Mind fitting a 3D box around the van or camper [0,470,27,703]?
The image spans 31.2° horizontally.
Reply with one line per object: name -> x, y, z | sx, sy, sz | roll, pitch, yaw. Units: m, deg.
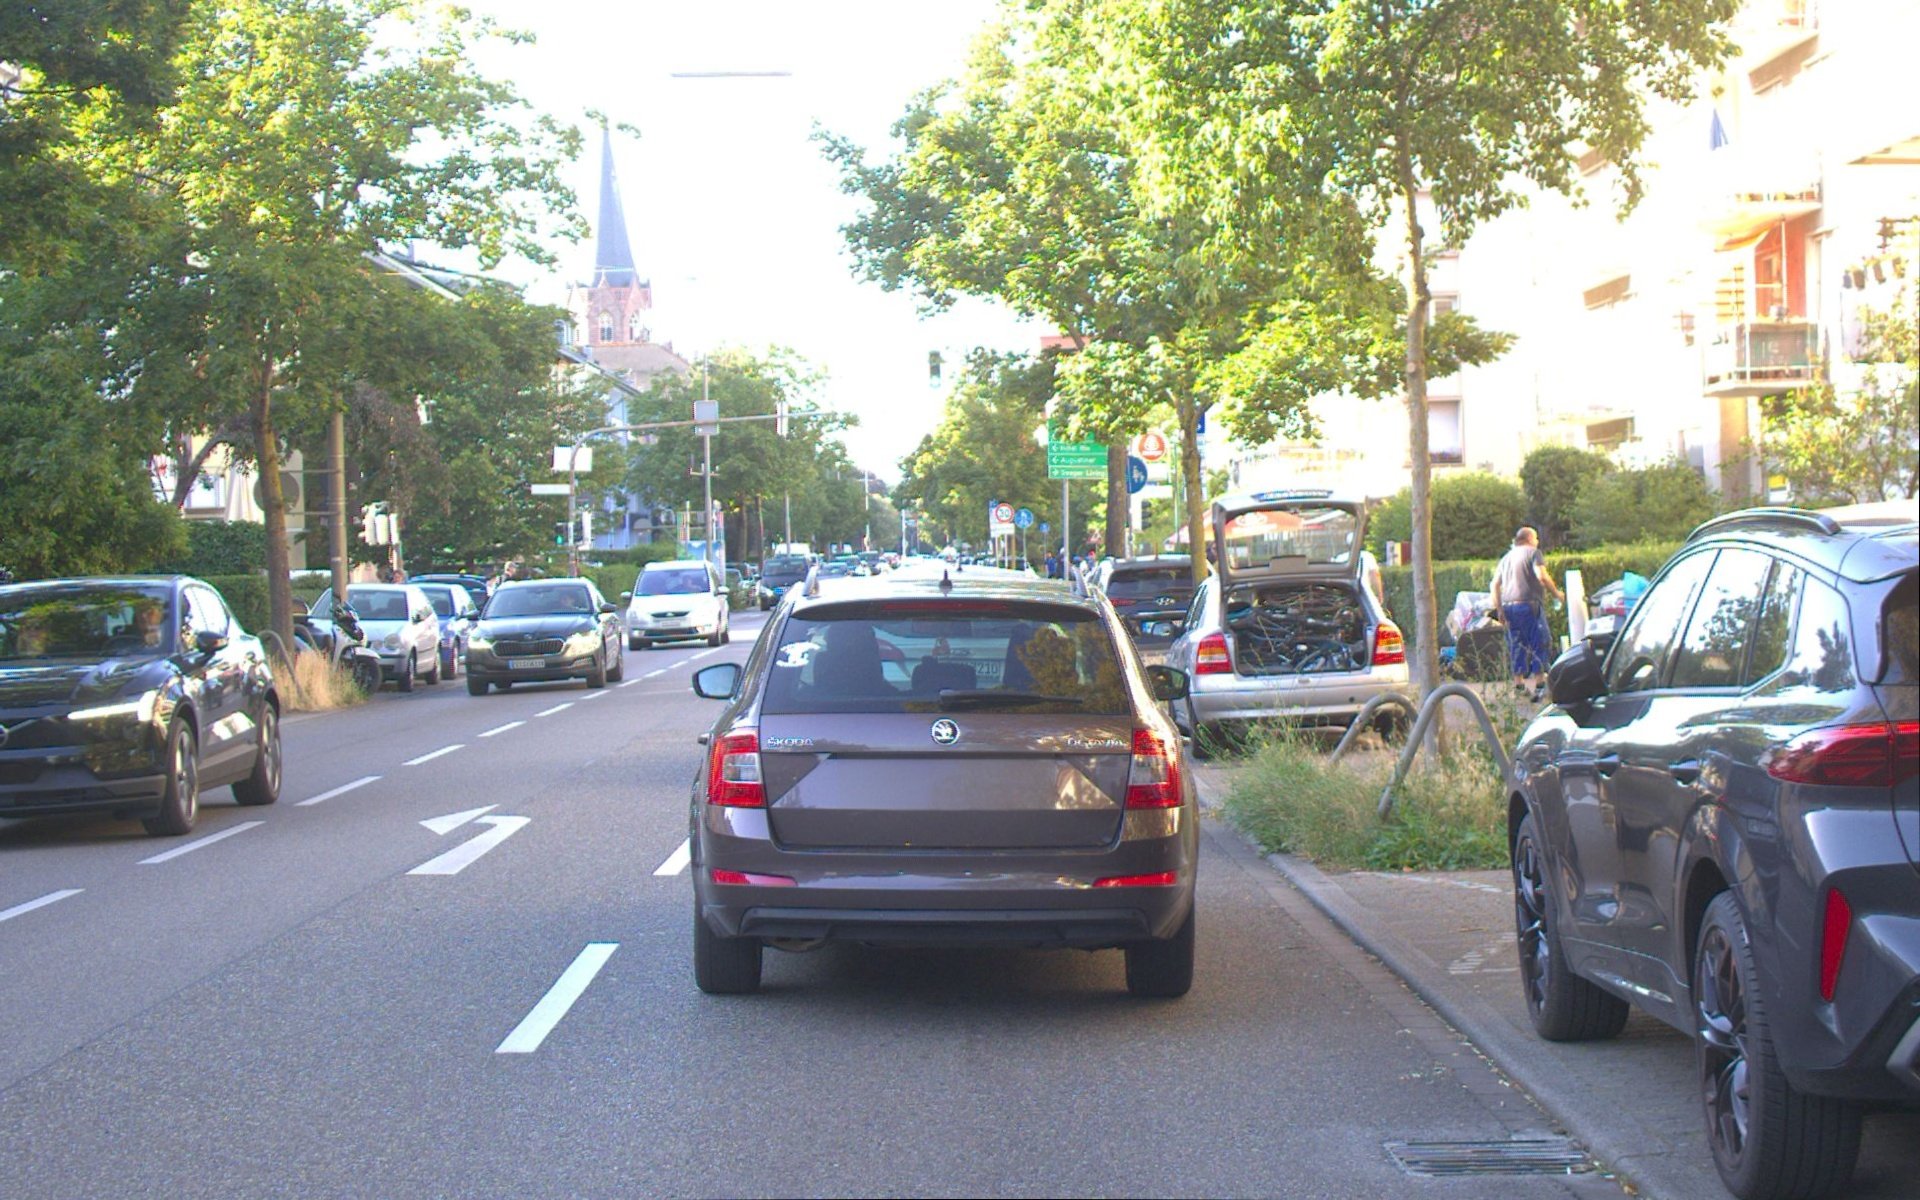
van or camper -> -14.802, -0.220, 40.780 | 6.797, 2.763, 2.352 | 1, 1, -1

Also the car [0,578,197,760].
car -> -8.335, 0.569, 31.131 | 1.867, 1.489, 4.517 | 0, 1, 0

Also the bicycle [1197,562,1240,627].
bicycle -> 4.057, -0.092, 54.076 | 0.516, 0.984, 1.831 | -1, 1, 0

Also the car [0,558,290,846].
car -> -5.464, 0.585, 21.237 | 1.835, 1.565, 4.000 | -3, 0, -1

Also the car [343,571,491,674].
car -> -8.334, 0.321, 53.028 | 1.648, 1.512, 4.074 | 0, 1, 0

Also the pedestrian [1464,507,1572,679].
pedestrian -> 5.392, -0.065, 33.200 | 0.757, 1.634, 0.694 | -1, 1, 36

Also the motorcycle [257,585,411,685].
motorcycle -> -8.145, 0.460, 44.690 | 2.052, 1.260, 0.765 | -1, 1, 38

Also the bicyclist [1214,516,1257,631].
bicyclist -> 4.329, -0.418, 54.041 | 0.581, 1.782, 0.852 | -1, 1, 0

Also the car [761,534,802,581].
car -> -9.734, -2.324, 187.566 | 1.993, 2.469, 4.000 | -1, 1, 0

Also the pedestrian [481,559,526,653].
pedestrian -> -9.822, 0.123, 73.989 | 0.780, 1.981, 0.821 | -2, 1, 0

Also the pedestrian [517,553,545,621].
pedestrian -> -11.356, -0.344, 91.042 | 0.616, 1.791, 0.504 | -2, 1, 0

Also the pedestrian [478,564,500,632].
pedestrian -> -12.531, -0.058, 91.427 | 0.449, 1.791, 0.504 | -2, 1, 0

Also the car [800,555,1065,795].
car -> -0.167, 0.473, 24.772 | 1.737, 1.565, 4.000 | 1, 1, 0

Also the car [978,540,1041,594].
car -> 1.673, -1.106, 115.029 | 1.994, 1.766, 4.000 | 1, 1, 2

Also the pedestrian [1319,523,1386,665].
pedestrian -> 4.943, -0.080, 43.332 | 0.662, 1.743, 0.772 | -3, 0, -1

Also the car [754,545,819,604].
car -> -6.045, -0.900, 120.210 | 1.993, 1.902, 4.964 | -3, 1, -1

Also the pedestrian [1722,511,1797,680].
pedestrian -> 7.844, -0.044, 33.738 | 0.474, 1.634, 0.536 | -2, 1, -19

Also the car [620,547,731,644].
car -> -5.660, -0.110, 68.902 | 1.805, 1.798, 4.746 | -3, 1, -1

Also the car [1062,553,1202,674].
car -> 2.246, 0.148, 45.631 | 1.703, 1.445, 4.013 | -3, 1, 2

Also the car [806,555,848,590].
car -> -6.325, -1.317, 163.812 | 1.830, 1.574, 4.000 | -2, 1, 0

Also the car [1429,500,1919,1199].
car -> 2.550, 0.540, 9.149 | 1.856, 1.598, 4.311 | -4, 1, -1

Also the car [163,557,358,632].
car -> -18.037, -0.145, 88.747 | 4.634, 1.805, 1.862 | -1, 1, -1

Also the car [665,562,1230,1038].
car -> -0.073, 0.605, 12.960 | 1.773, 1.484, 4.311 | 0, 1, -1

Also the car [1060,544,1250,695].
car -> 2.222, 0.192, 40.098 | 1.856, 1.576, 4.014 | -3, 1, -1

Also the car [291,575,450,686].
car -> -8.303, 0.397, 48.673 | 1.593, 1.465, 3.803 | 1, 1, 0

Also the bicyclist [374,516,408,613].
bicyclist -> -9.803, -0.618, 59.236 | 0.468, 1.657, 0.552 | -1, 1, -1

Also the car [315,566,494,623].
car -> -15.278, -0.149, 94.742 | 4.634, 1.530, 1.862 | 0, 1, -1

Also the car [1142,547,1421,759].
car -> 2.495, 0.367, 27.632 | 1.708, 1.475, 4.268 | -3, 1, -1

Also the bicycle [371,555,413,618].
bicycle -> -9.788, -0.238, 59.274 | 0.486, 1.060, 1.534 | -1, 1, -1

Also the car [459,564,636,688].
car -> -5.451, 0.308, 45.914 | 1.760, 1.447, 4.534 | -3, 1, 0
